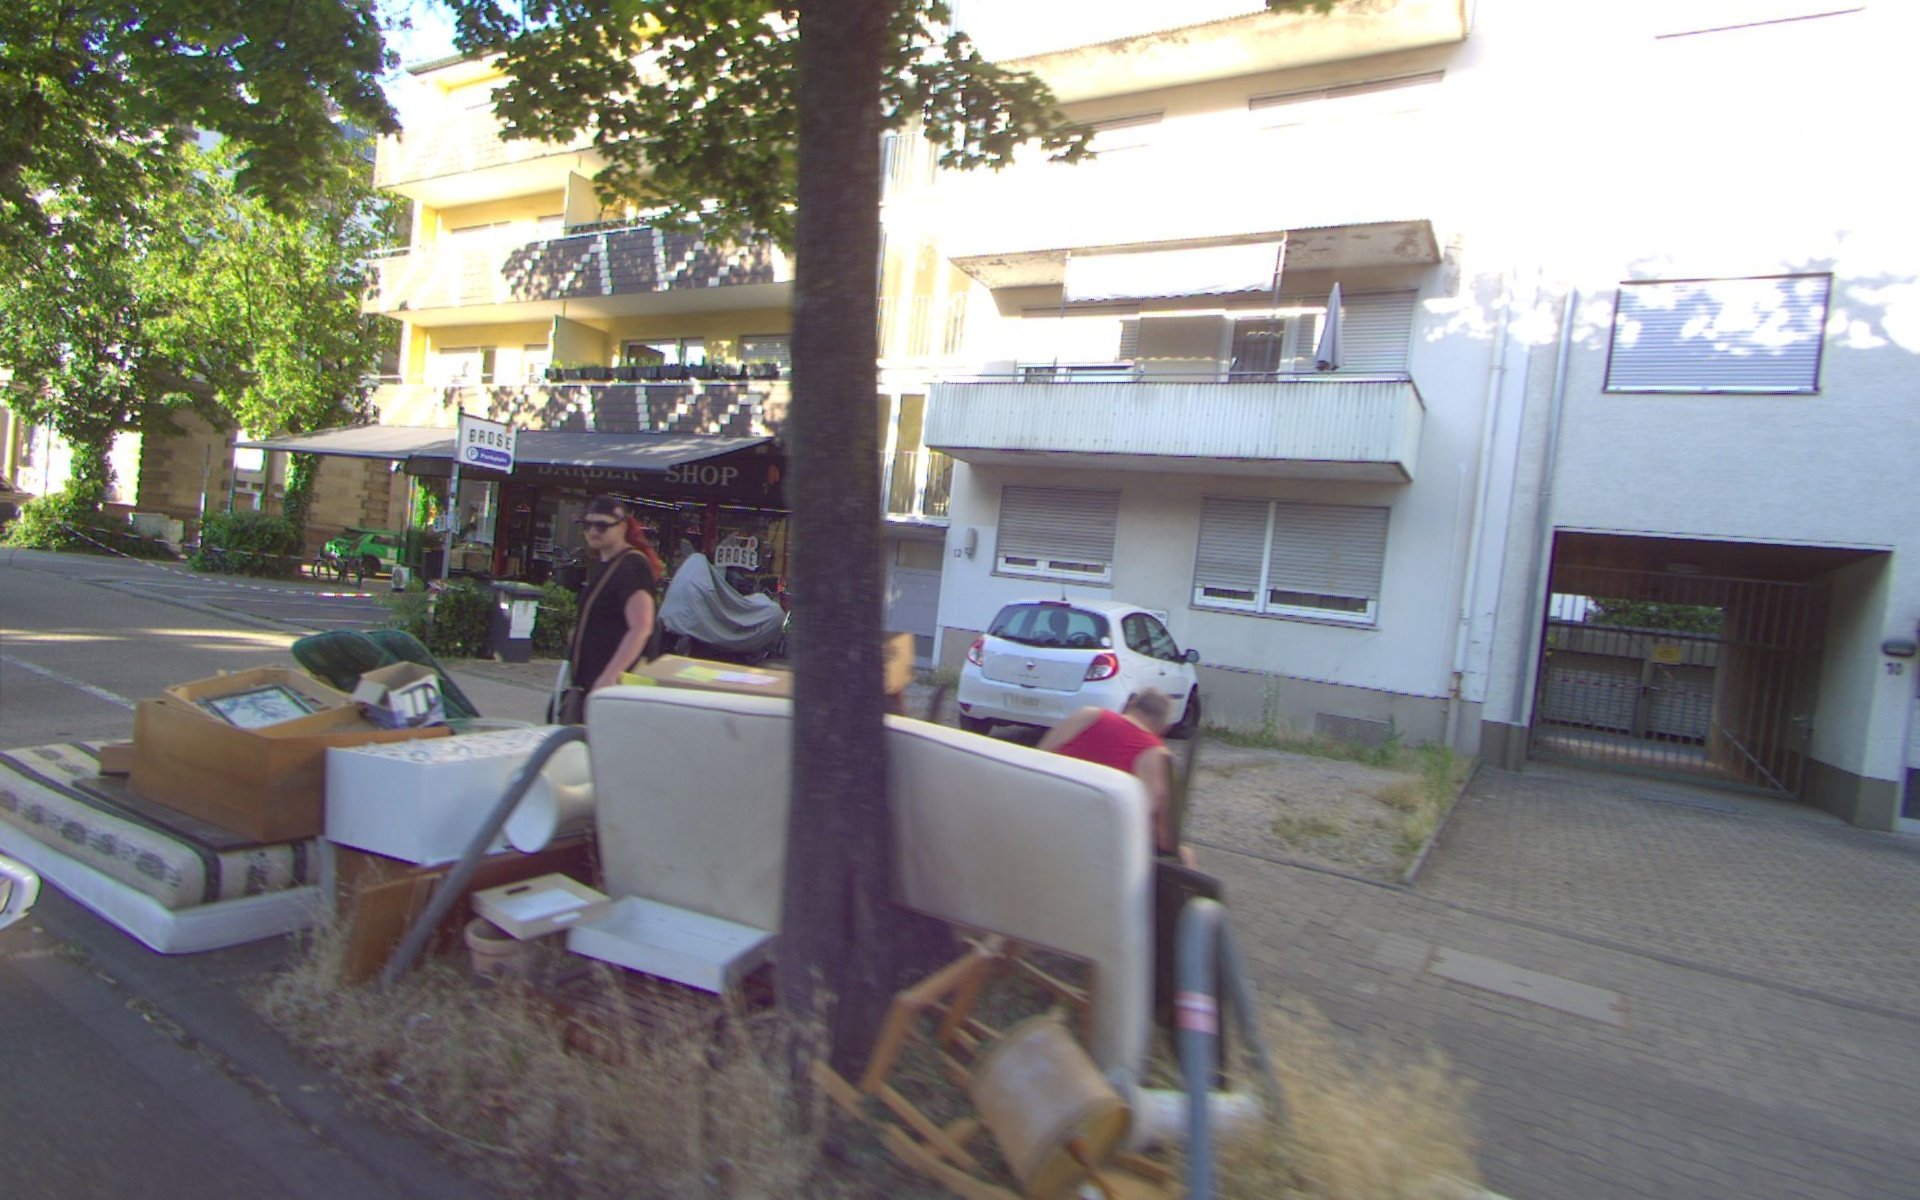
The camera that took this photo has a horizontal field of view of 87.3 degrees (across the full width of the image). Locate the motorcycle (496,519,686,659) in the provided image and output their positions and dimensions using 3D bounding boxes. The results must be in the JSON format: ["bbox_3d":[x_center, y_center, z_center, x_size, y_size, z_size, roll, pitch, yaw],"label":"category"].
[{"bbox_3d":[-4.849,-0.100,13.394,0.720,1.642,2.193,8,1,37],"label":"motorcycle"}]

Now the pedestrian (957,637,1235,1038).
[{"bbox_3d":[0.549,0.827,3.883,0.688,1.270,0.798,7,1,29],"label":"pedestrian"}]

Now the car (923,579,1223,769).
[{"bbox_3d":[1.429,0.746,10.940,1.793,1.480,3.994,7,0,28],"label":"car"}]

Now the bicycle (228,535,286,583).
[{"bbox_3d":[-16.210,-0.939,23.178,1.554,0.963,0.342,7,3,26],"label":"bicycle"}]

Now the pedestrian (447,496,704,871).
[{"bbox_3d":[-1.725,0.350,4.664,0.470,1.495,1.065,7,1,12],"label":"pedestrian"}]

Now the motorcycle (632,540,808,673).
[{"bbox_3d":[-3.321,0.130,14.126,0.876,1.642,2.193,8,1,37],"label":"motorcycle"}]

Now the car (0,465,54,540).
[{"bbox_3d":[-26.738,-2.771,26.187,1.878,1.916,4.548,7,0,4],"label":"car"}]

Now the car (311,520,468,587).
[{"bbox_3d":[-18.384,-1.470,32.578,1.897,1.605,3.921,7,1,32],"label":"car"}]

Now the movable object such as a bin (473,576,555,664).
[{"bbox_3d":[-5.266,0.242,11.875,0.530,0.961,0.613,8,1,32],"label":"movable object such as a bin"}]

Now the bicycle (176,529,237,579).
[{"bbox_3d":[-17.094,-1.046,22.811,1.554,0.961,0.343,7,-1,26],"label":"bicycle"}]

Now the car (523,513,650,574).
[{"bbox_3d":[-11.656,-1.753,31.595,1.633,1.436,3.349,7,1,32],"label":"car"}]

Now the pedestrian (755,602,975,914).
[{"bbox_3d":[-0.450,0.698,4.680,0.649,1.270,0.651,6,2,-36],"label":"pedestrian"}]
